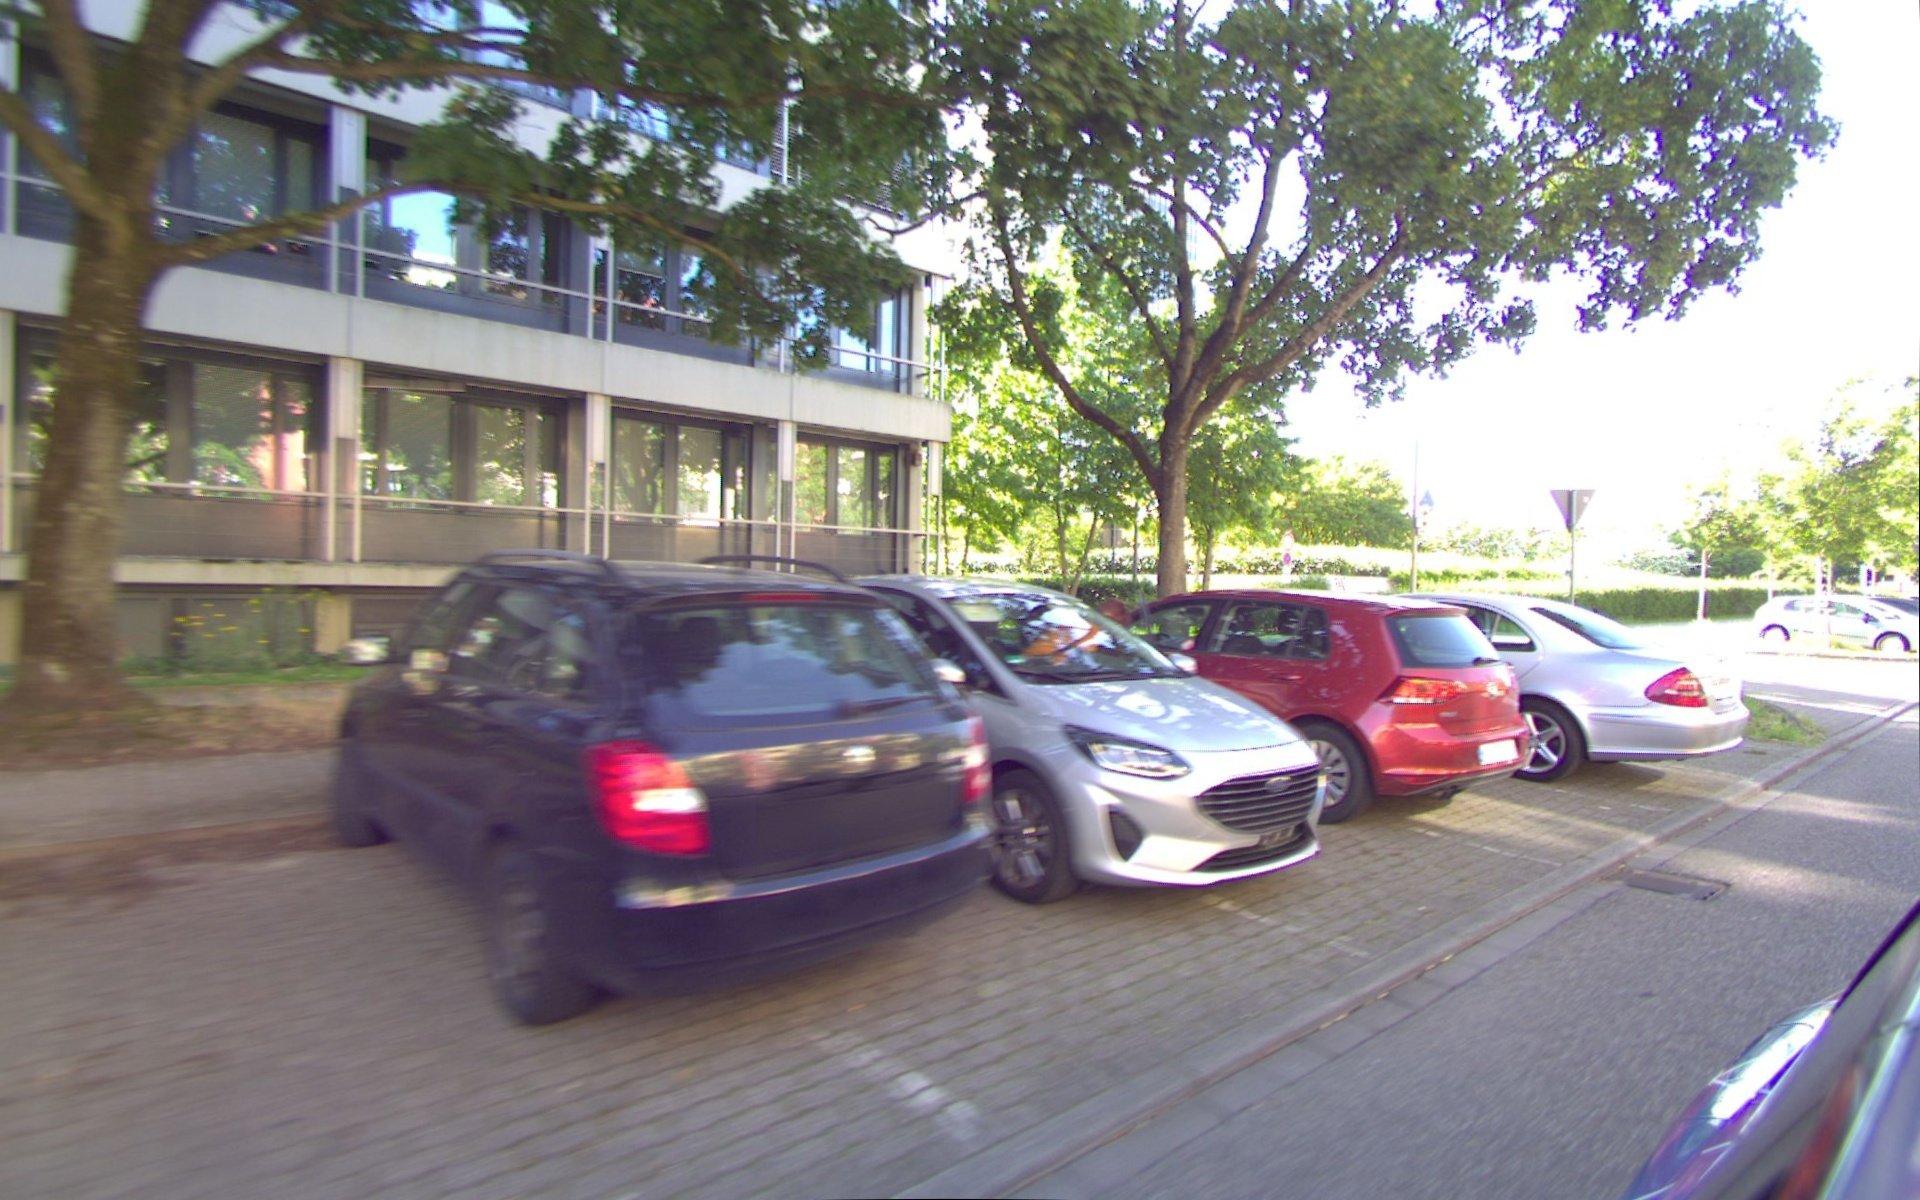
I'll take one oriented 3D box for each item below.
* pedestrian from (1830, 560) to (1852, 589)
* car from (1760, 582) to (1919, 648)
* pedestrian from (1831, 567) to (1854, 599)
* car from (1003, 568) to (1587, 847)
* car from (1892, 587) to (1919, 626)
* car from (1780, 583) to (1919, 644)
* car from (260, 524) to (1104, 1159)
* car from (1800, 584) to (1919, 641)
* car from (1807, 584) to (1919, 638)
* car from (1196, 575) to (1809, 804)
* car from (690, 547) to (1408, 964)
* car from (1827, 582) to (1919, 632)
[{"bbox_3d":[48.284,-1.399,55.482,0.837,1.607,0.725,0,1,-39],"label":"pedestrian"},{"bbox_3d":[24.676,0.385,27.749,1.671,1.533,3.959,-1,4,-39],"label":"car"},{"bbox_3d":[43.552,-0.835,49.947,0.919,1.561,0.609,0,1,-35],"label":"pedestrian"},{"bbox_3d":[2.279,0.553,7.770,1.886,1.464,3.850,0,3,-36],"label":"car"},{"bbox_3d":[38.653,0.393,38.670,1.611,1.446,4.108,0,5,-33],"label":"car"},{"bbox_3d":[26.756,0.397,29.259,4.552,1.533,1.951,5,5,44],"label":"car"},{"bbox_3d":[-1.718,0.472,4.762,1.890,1.561,4.520,0,3,-44],"label":"car"},{"bbox_3d":[28.525,0.377,31.073,1.720,1.533,3.886,-1,4,-39],"label":"car"},{"bbox_3d":[30.497,0.366,32.621,2.120,1.533,4.561,-1,4,-39],"label":"car"},{"bbox_3d":[4.552,0.562,9.175,1.716,1.493,4.587,0,2,-40],"label":"car"},{"bbox_3d":[0.100,0.505,6.274,1.886,1.561,4.530,0,3,-36],"label":"car"},{"bbox_3d":[32.368,0.273,34.570,1.713,1.465,3.818,0,5,-38],"label":"car"}]
